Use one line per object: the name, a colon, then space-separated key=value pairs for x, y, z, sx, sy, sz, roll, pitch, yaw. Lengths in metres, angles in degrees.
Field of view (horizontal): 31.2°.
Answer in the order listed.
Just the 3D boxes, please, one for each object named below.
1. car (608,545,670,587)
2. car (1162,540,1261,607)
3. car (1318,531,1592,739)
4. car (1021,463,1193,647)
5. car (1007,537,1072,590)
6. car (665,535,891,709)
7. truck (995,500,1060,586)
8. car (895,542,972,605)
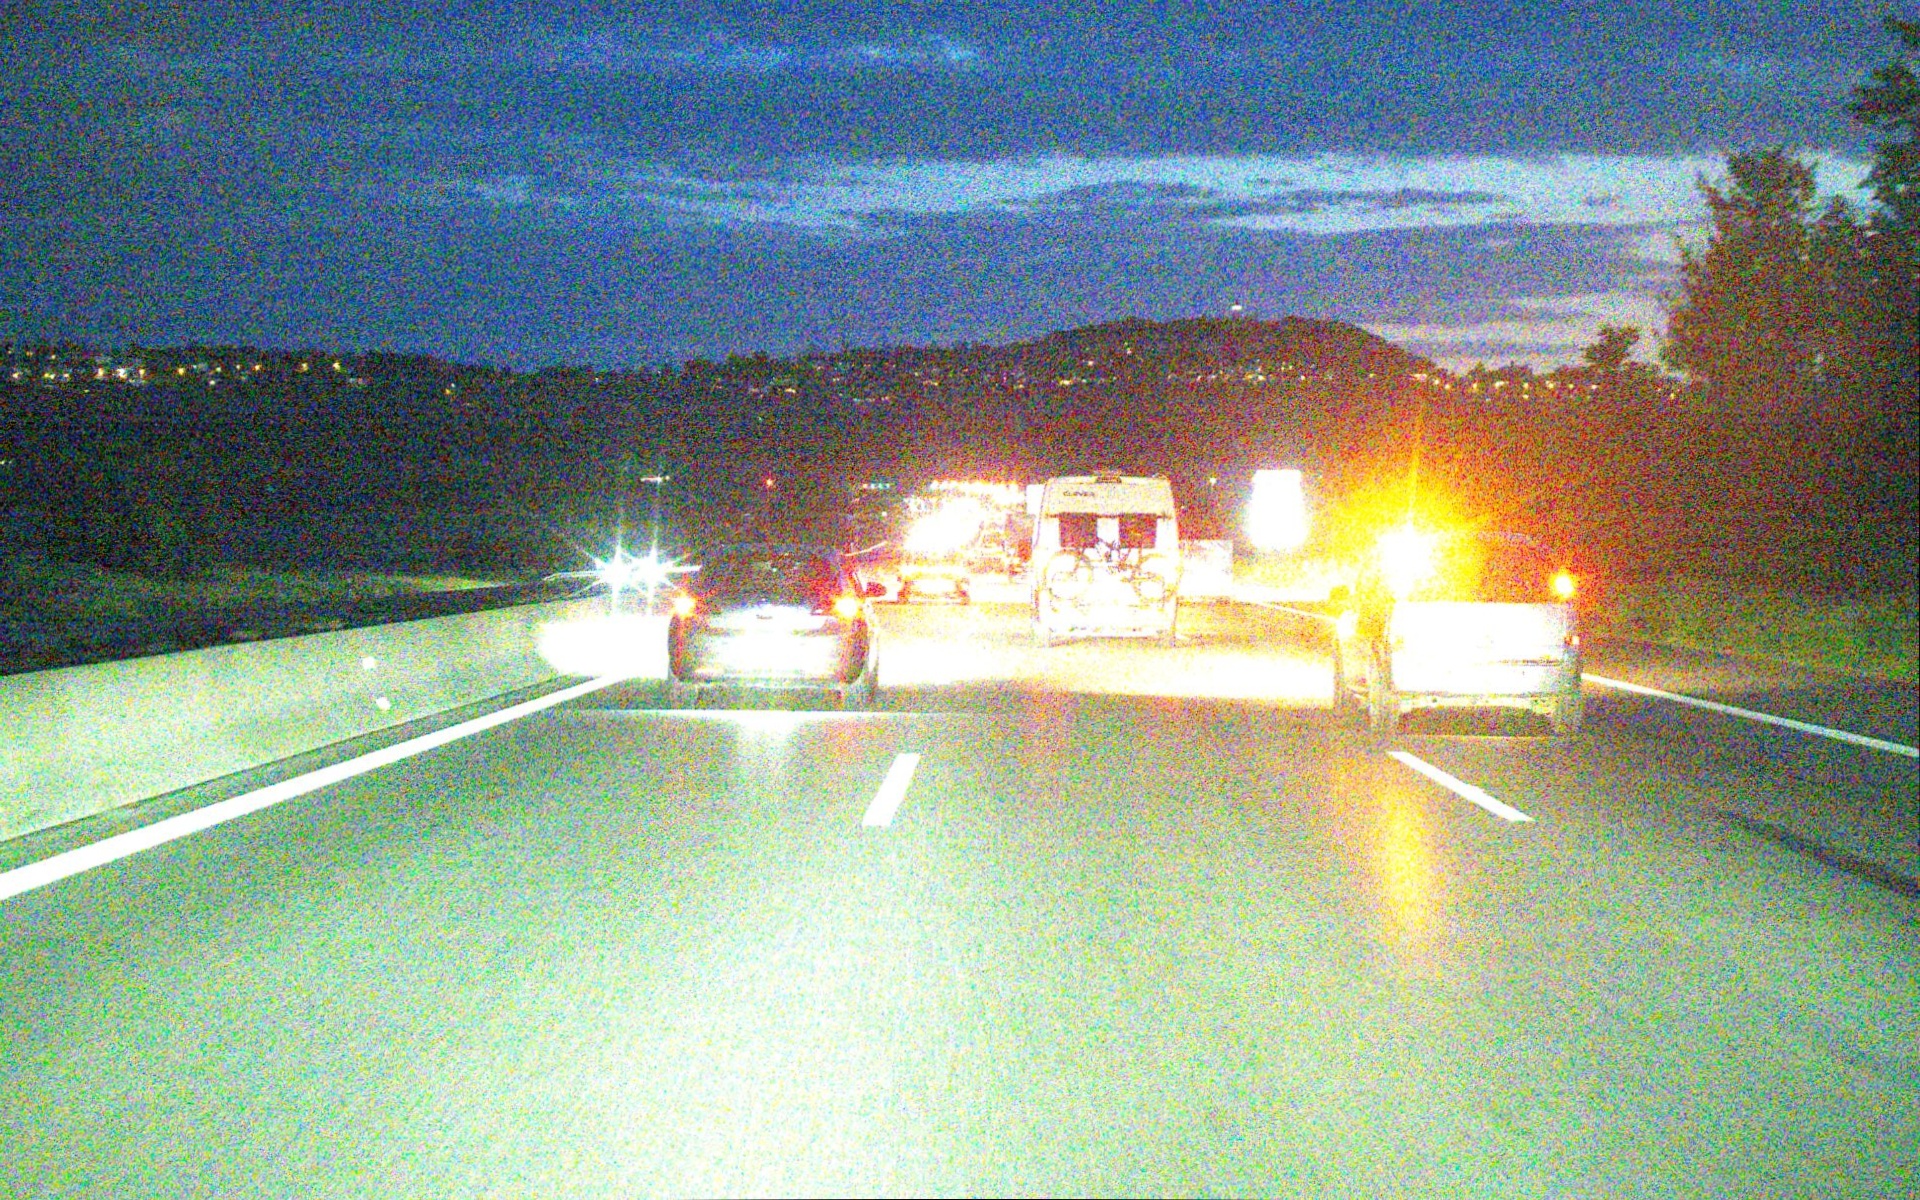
car: x=-13.067 y=-1.389 z=140.084 sx=1.903 sy=1.637 sz=5.298 roll=-1 pitch=1 yaw=1
car: x=6.071 y=-0.665 z=83.450 sx=2.163 sy=1.558 sz=4.723 roll=0 pitch=1 yaw=1
car: x=4.065 y=0.235 z=28.863 sx=1.646 sy=1.591 sz=4.510 roll=0 pitch=1 yaw=0
car: x=2.094 y=-0.694 z=50.439 sx=2.351 sy=2.526 sz=5.701 roll=-1 pitch=1 yaw=1
car: x=2.966 y=-1.377 z=128.259 sx=2.351 sy=1.907 sz=4.723 roll=-1 pitch=1 yaw=1
car: x=-1.615 y=0.154 z=31.641 sx=1.794 sy=1.464 sz=3.773 roll=1 pitch=1 yaw=1
truck: x=3.166 y=-2.692 z=162.332 sx=2.781 sy=3.942 sz=7.993 roll=-1 pitch=1 yaw=-1
car: x=-0.624 y=-0.674 z=83.670 sx=1.745 sy=1.435 sz=4.367 roll=-1 pitch=1 yaw=1
